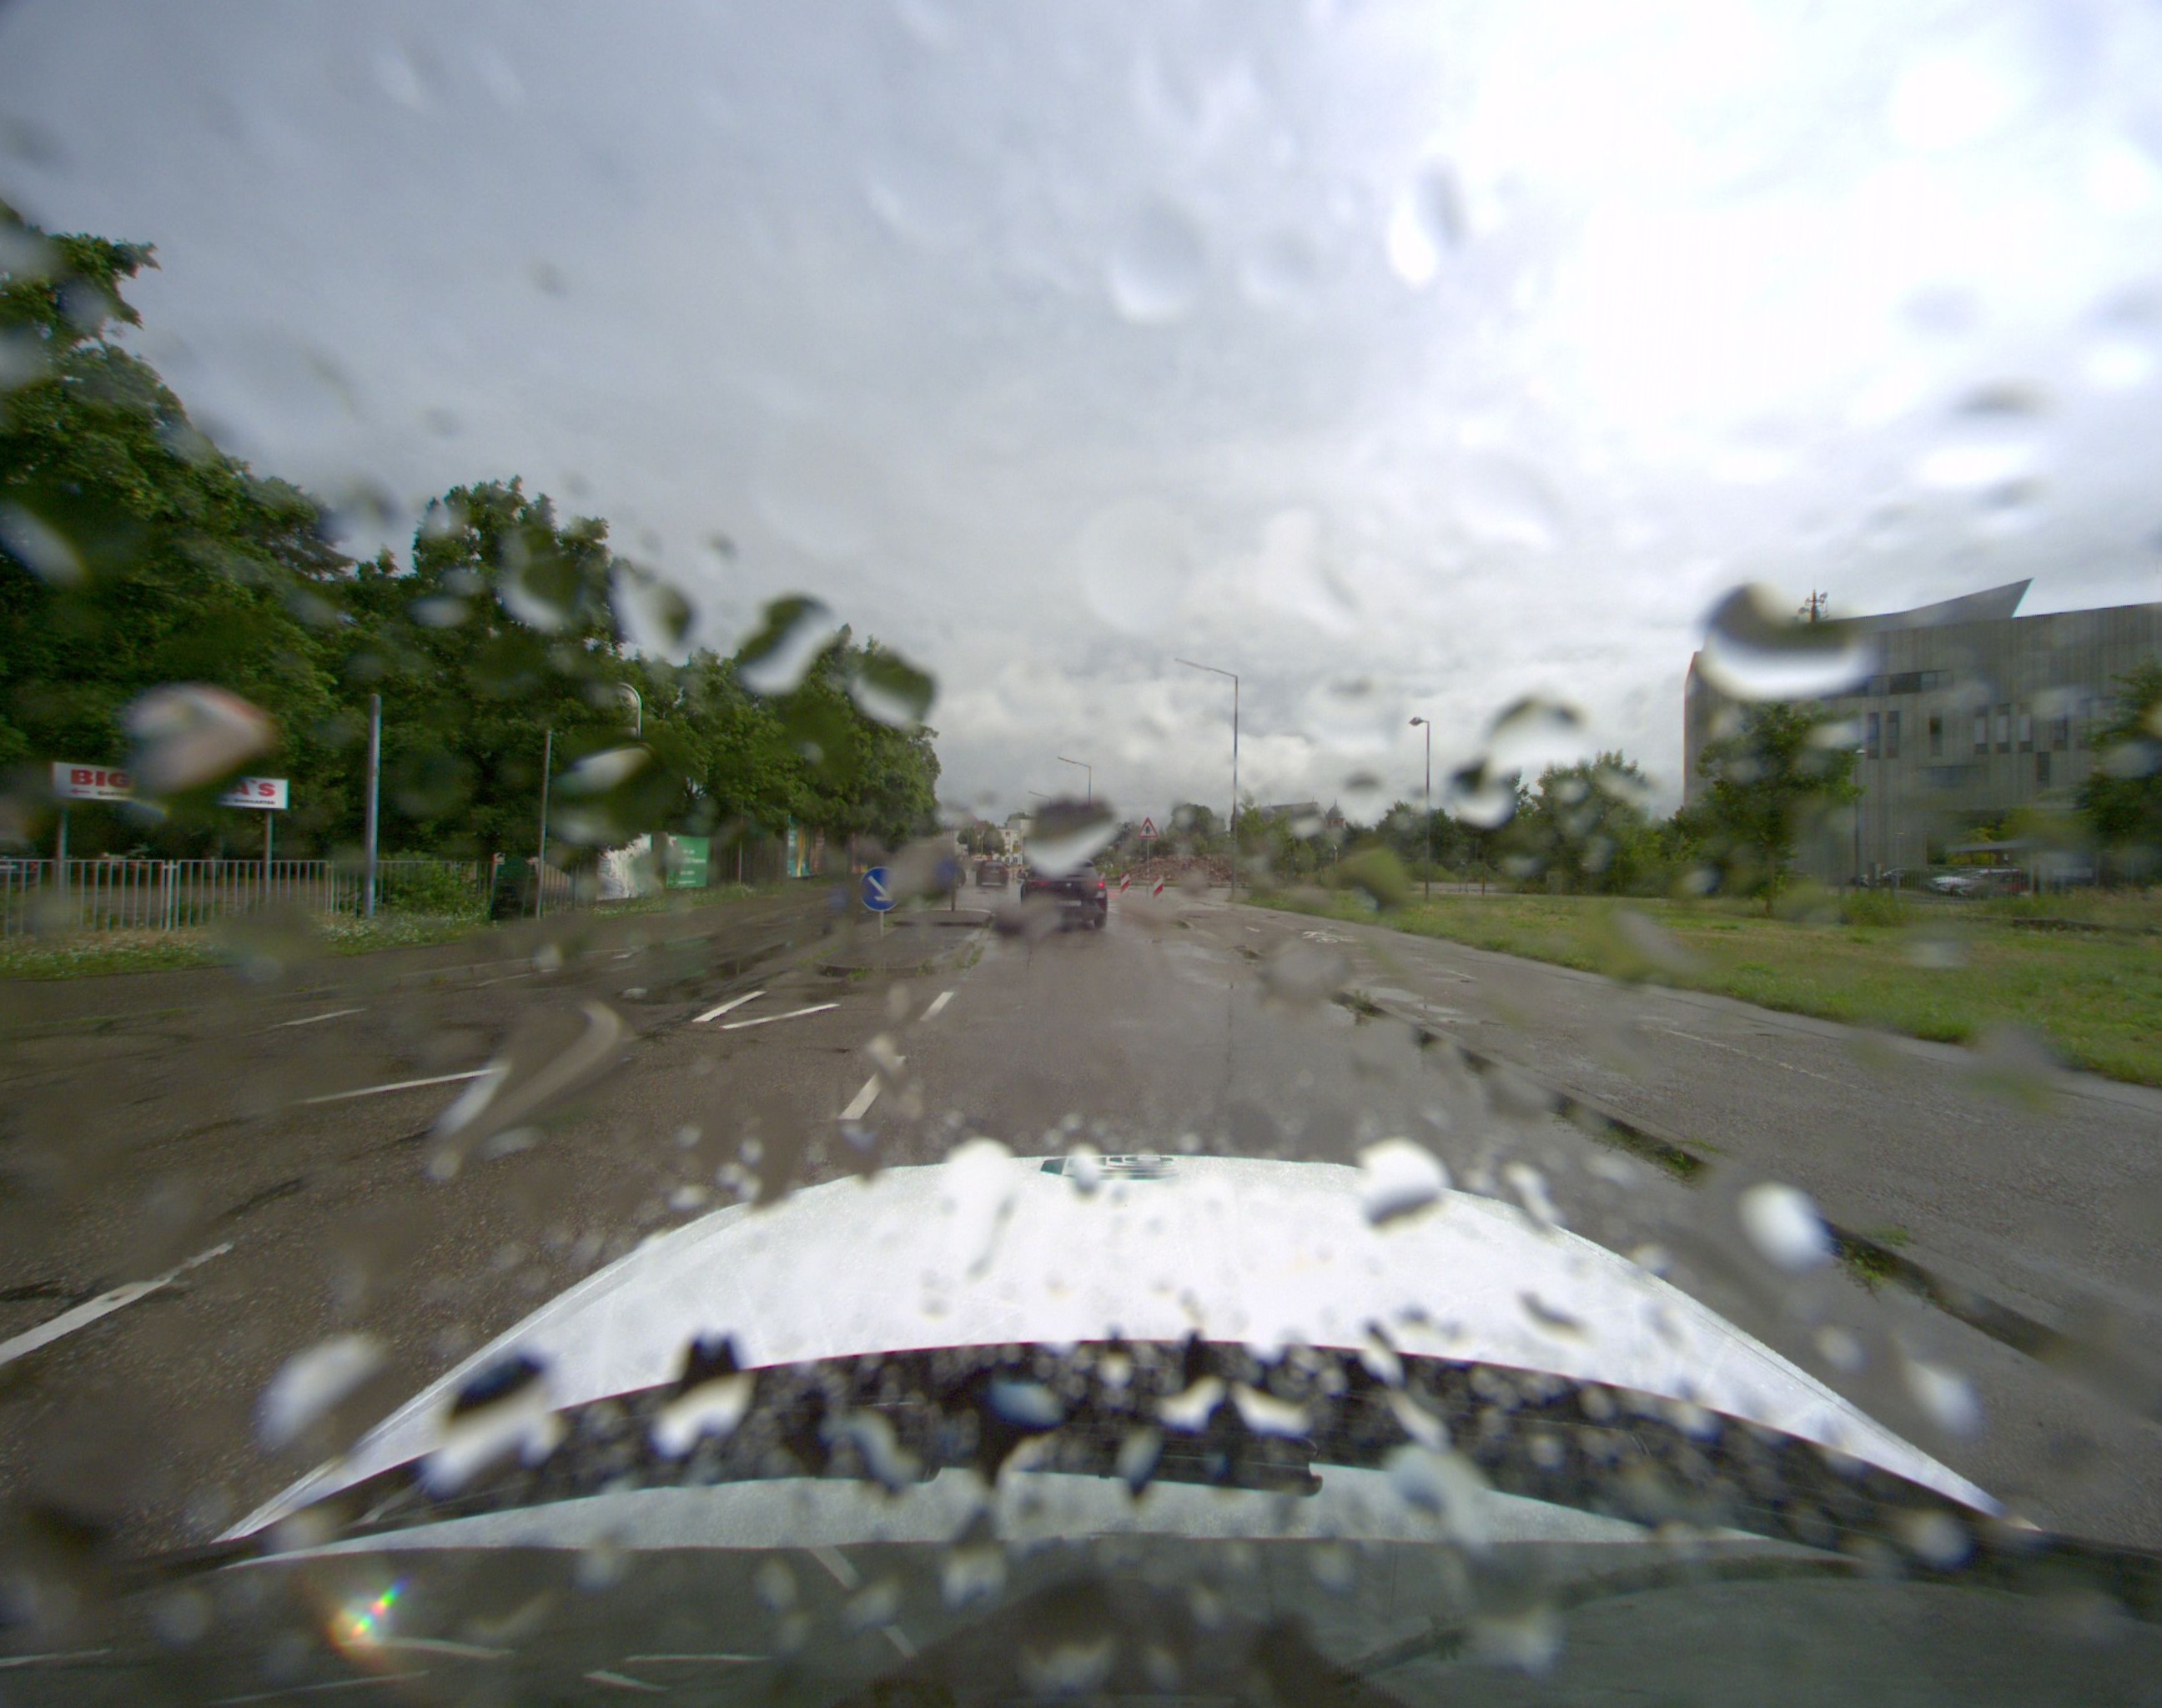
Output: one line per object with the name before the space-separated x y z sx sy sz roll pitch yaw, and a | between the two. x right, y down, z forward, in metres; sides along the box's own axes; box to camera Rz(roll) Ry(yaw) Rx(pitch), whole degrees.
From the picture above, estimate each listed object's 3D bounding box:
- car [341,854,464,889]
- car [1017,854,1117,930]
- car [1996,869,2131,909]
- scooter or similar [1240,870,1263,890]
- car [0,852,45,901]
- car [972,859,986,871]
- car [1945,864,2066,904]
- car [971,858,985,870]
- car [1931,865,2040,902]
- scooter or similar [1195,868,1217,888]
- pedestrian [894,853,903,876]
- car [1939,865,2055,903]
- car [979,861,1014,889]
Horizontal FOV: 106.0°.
car | -29.391 0.759 35.503 1.992 1.418 4.531 0 -1 -8
car | -0.442 0.801 18.771 1.984 1.520 3.992 -1 -1 -5
car | 51.298 1.787 42.666 4.116 1.720 1.831 4 1 37
scooter or similar | 10.679 1.620 51.077 1.268 1.187 0.506 4 1 33
car | -33.749 0.646 23.584 4.522 1.418 1.996 0 -1 -5
car | -13.976 1.497 111.896 1.840 1.641 4.004 1 -1 -8
car | 54.567 1.738 48.209 4.332 1.957 2.012 4 1 38
car | -15.462 1.525 122.436 1.995 1.703 4.004 1 -1 -8
car | 58.019 1.873 52.361 4.332 1.978 2.012 4 1 38
scooter or similar | 7.940 1.542 51.785 1.268 1.187 0.506 4 1 33
pedestrian | -13.657 0.790 60.906 0.523 1.701 0.565 3 1 -8
car | 55.980 1.806 49.913 4.332 1.971 2.012 4 1 38
car | -4.707 1.155 45.143 1.839 1.442 3.990 -1 -1 -7
